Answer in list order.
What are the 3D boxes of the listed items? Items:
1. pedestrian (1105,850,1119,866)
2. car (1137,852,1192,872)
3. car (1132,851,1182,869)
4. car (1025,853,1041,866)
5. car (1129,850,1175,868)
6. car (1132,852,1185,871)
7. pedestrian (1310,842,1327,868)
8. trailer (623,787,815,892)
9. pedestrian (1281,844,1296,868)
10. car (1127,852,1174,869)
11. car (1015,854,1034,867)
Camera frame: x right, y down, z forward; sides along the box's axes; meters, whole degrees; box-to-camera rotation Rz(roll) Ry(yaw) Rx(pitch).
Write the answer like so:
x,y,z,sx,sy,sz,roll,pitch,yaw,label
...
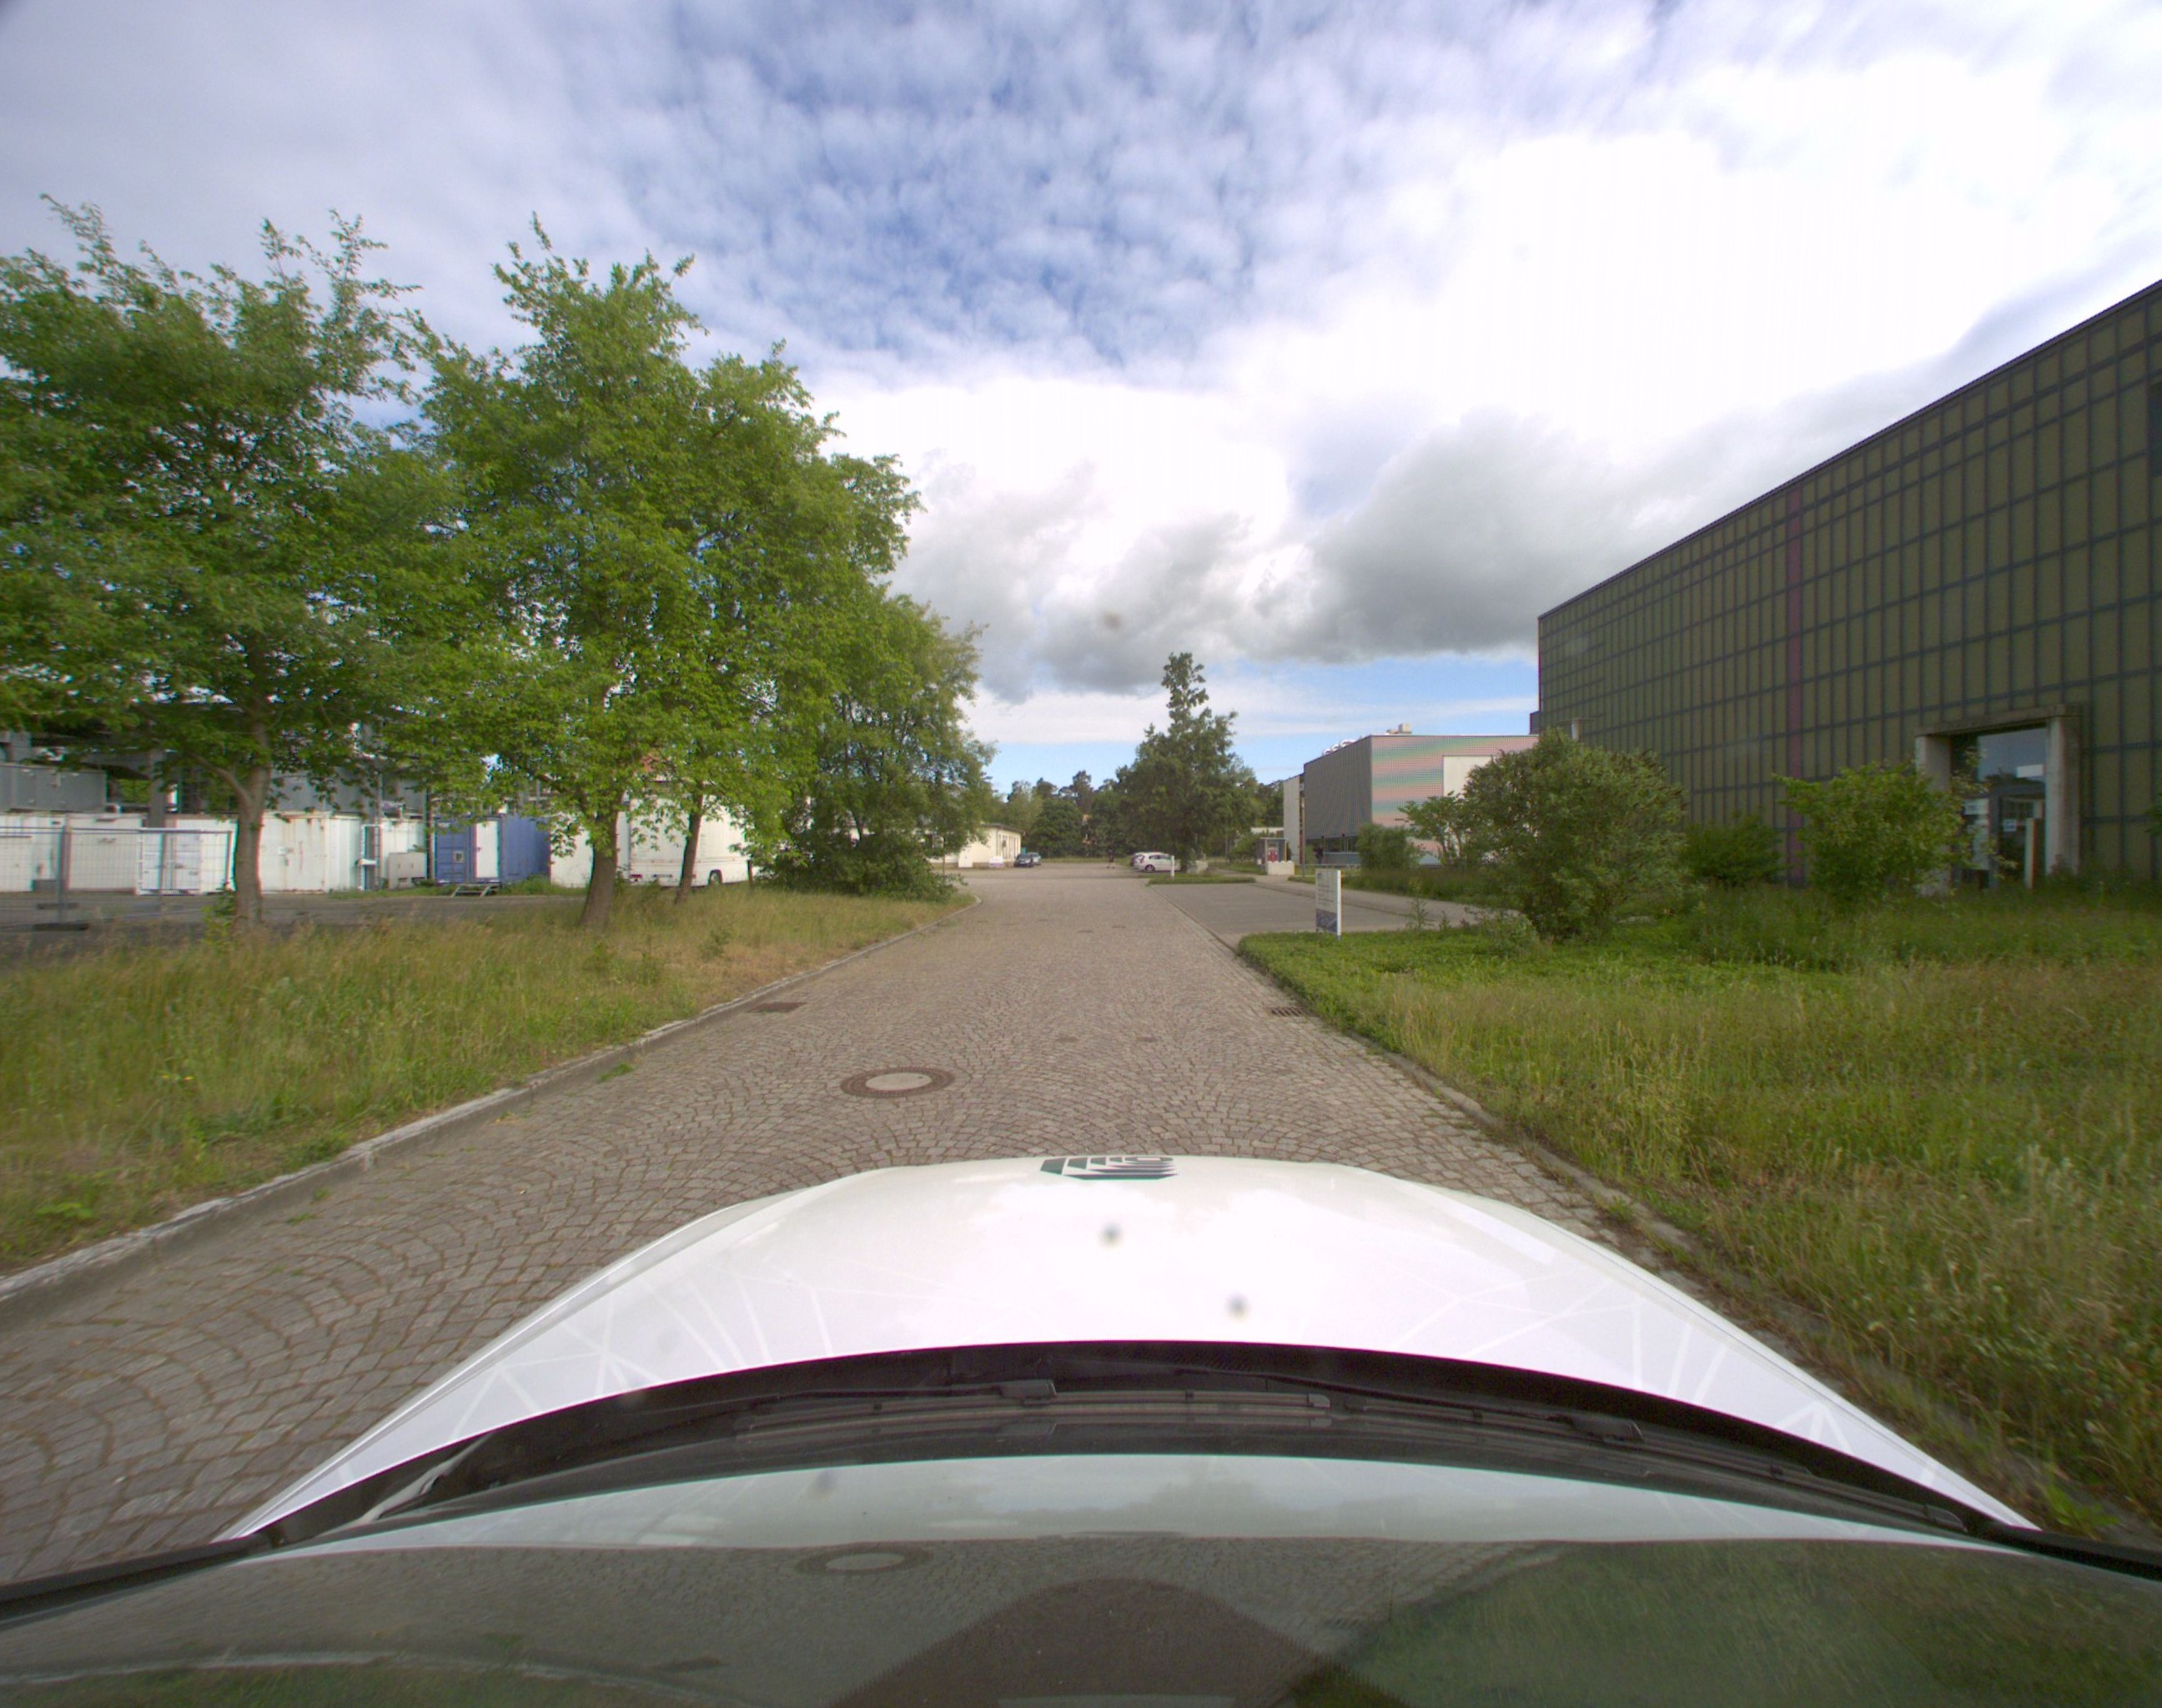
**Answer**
x,y,z,sx,sy,sz,roll,pitch,yaw,label
3.017,0.408,79.668,0.945,1.568,0.962,0,0,-28,pedestrian
6.256,0.611,61.110,3.972,1.455,2.000,0,-1,1,car
6.136,0.497,66.323,3.972,1.455,1.770,0,0,1,car
-5.571,0.587,95.454,1.744,1.454,3.998,0,0,-1,car
6.463,0.443,74.441,3.978,1.533,1.998,0,0,-3,car
6.011,0.567,63.283,3.972,1.455,1.698,0,0,1,car
17.917,0.103,61.341,0.922,1.936,0.847,0,0,-29,pedestrian
-14.550,-0.516,34.154,2.645,3.705,10.731,0,0,4,trailer
17.750,0.148,69.594,0.919,2.013,1.145,0,0,-5,pedestrian
6.067,0.547,71.229,3.972,1.455,1.770,0,0,1,car
-5.917,0.673,85.223,1.744,1.364,3.998,0,0,-1,car
